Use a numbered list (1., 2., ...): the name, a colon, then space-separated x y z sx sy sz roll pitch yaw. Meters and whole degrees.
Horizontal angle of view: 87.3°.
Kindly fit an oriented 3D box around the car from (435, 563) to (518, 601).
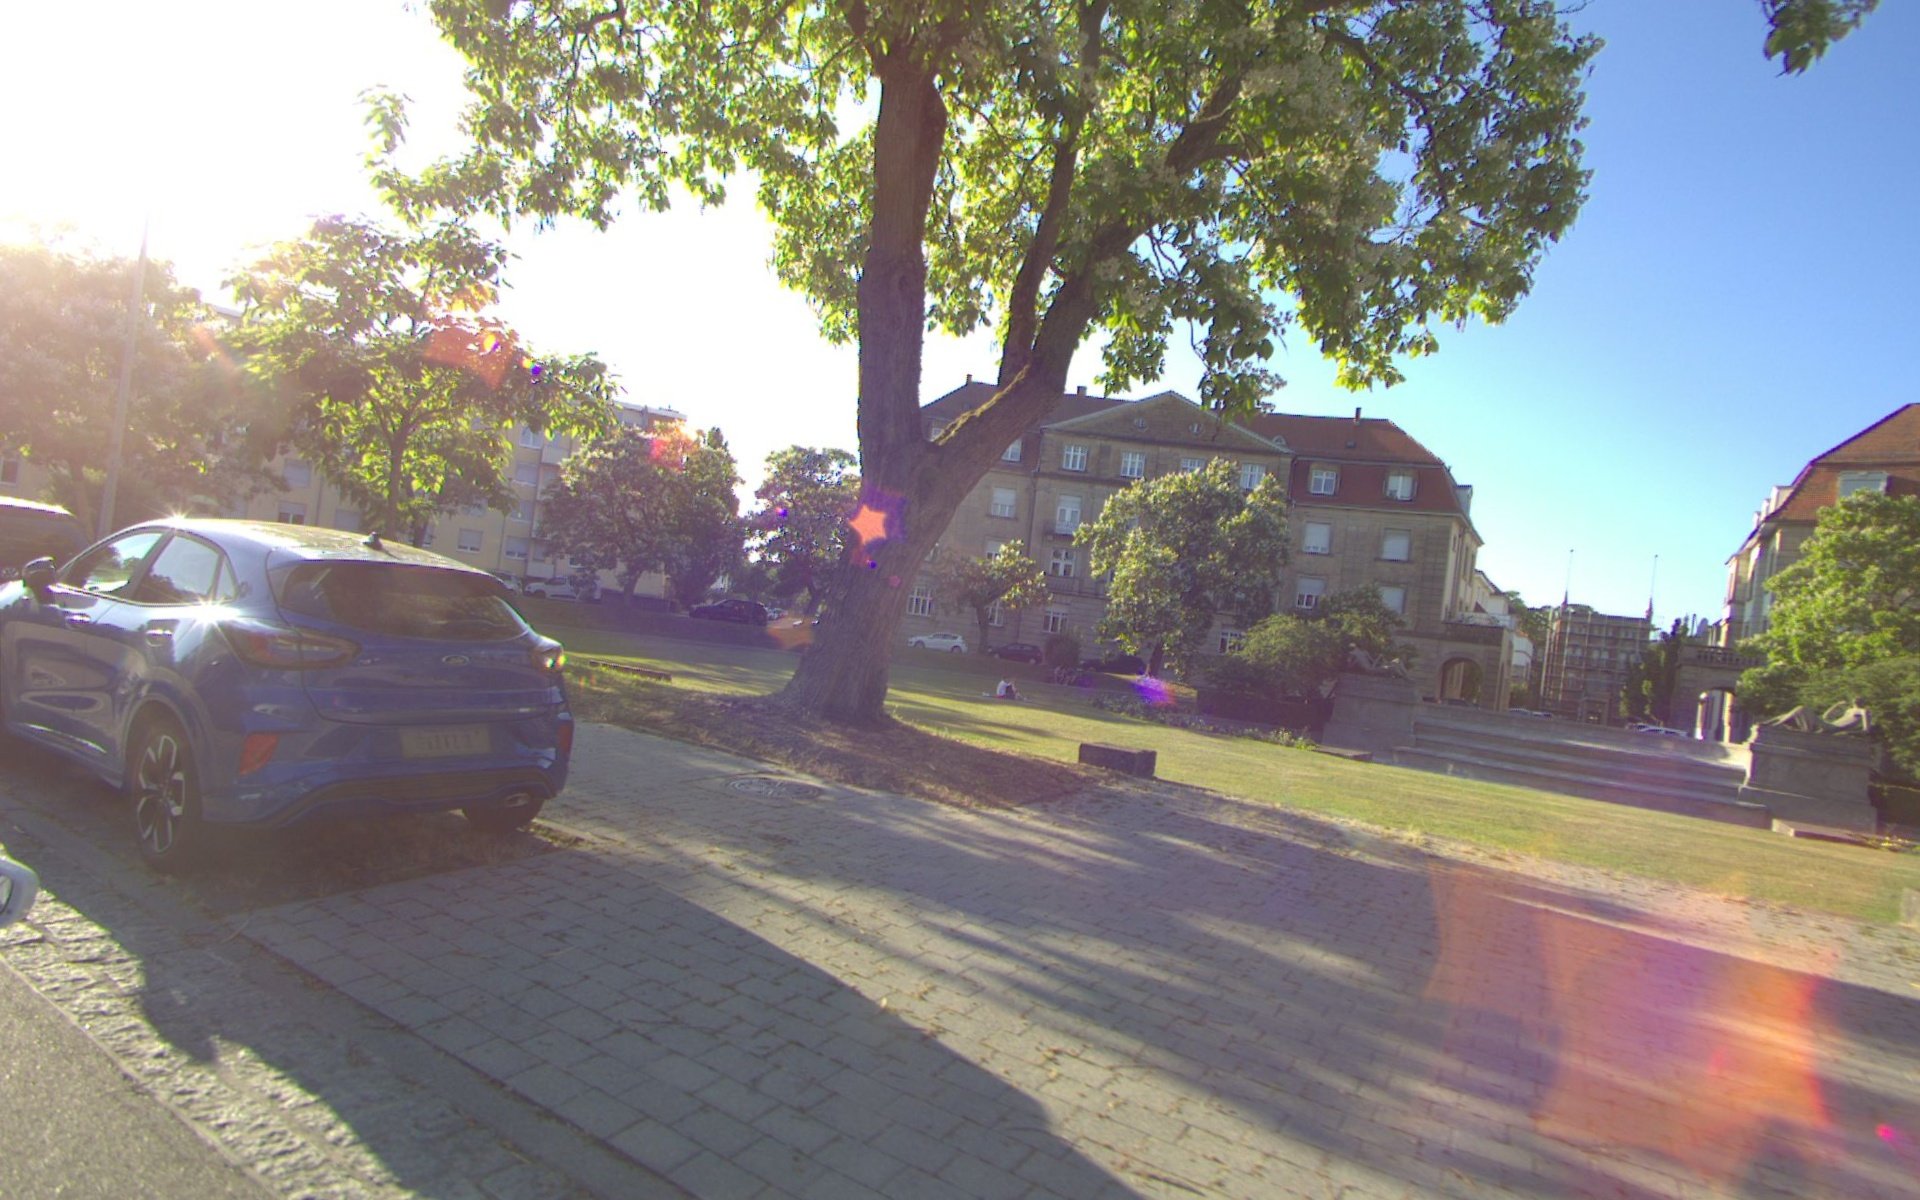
1. car: -27.178 -1.017 56.576 3.959 1.570 1.598 8 -2 -32

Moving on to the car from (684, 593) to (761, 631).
1. car: -14.697 0.754 62.226 4.456 1.766 1.875 8 -1 -15

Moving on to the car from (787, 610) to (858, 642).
1. car: -8.734 1.670 64.105 4.292 1.470 1.879 7 -1 -7

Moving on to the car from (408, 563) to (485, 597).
1. car: -31.166 -1.218 61.072 3.958 1.470 1.866 8 -2 -31

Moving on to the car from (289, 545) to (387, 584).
1. car: -35.915 -2.022 58.169 4.494 1.587 1.860 9 -2 -40

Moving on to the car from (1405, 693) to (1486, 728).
1. car: 28.470 6.483 58.997 4.028 1.434 1.816 6 -2 32

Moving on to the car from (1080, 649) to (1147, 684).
1. car: 9.808 4.263 64.606 3.925 1.725 2.003 8 -2 4

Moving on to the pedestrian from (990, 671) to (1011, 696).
1. pedestrian: 1.497 3.089 37.281 0.578 0.803 0.666 7 -1 -11

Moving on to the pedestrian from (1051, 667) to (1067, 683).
1. pedestrian: 5.340 4.053 54.474 0.655 0.803 0.587 6 -1 20

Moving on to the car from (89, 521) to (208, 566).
1. car: -38.367 -2.674 47.649 4.184 1.479 1.672 9 -2 -44

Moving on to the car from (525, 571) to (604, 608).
1. car: -25.370 -0.688 64.507 4.468 1.766 1.870 8 -2 -24

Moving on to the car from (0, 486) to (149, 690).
1. car: -9.317 -0.286 8.940 4.348 1.569 1.735 6 -2 30

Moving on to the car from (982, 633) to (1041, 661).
1. car: 3.657 3.331 71.069 3.924 1.470 1.882 7 -1 5

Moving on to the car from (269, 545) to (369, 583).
1. car: -33.359 -1.884 52.413 4.176 1.373 1.675 9 -2 -38

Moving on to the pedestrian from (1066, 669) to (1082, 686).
1. pedestrian: 6.111 4.159 54.136 0.655 0.803 0.587 6 -1 20

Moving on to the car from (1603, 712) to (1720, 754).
1. car: 37.082 7.015 53.252 4.877 1.434 1.813 6 -2 39

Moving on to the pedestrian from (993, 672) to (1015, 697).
1. pedestrian: 1.612 3.080 36.606 0.578 0.803 0.666 7 -1 -11

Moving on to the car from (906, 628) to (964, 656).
1. car: -1.736 2.946 70.988 3.926 1.470 1.881 7 -1 0

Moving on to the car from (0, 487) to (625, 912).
1. car: -4.093 0.324 5.755 4.205 1.569 1.734 6 -2 32
